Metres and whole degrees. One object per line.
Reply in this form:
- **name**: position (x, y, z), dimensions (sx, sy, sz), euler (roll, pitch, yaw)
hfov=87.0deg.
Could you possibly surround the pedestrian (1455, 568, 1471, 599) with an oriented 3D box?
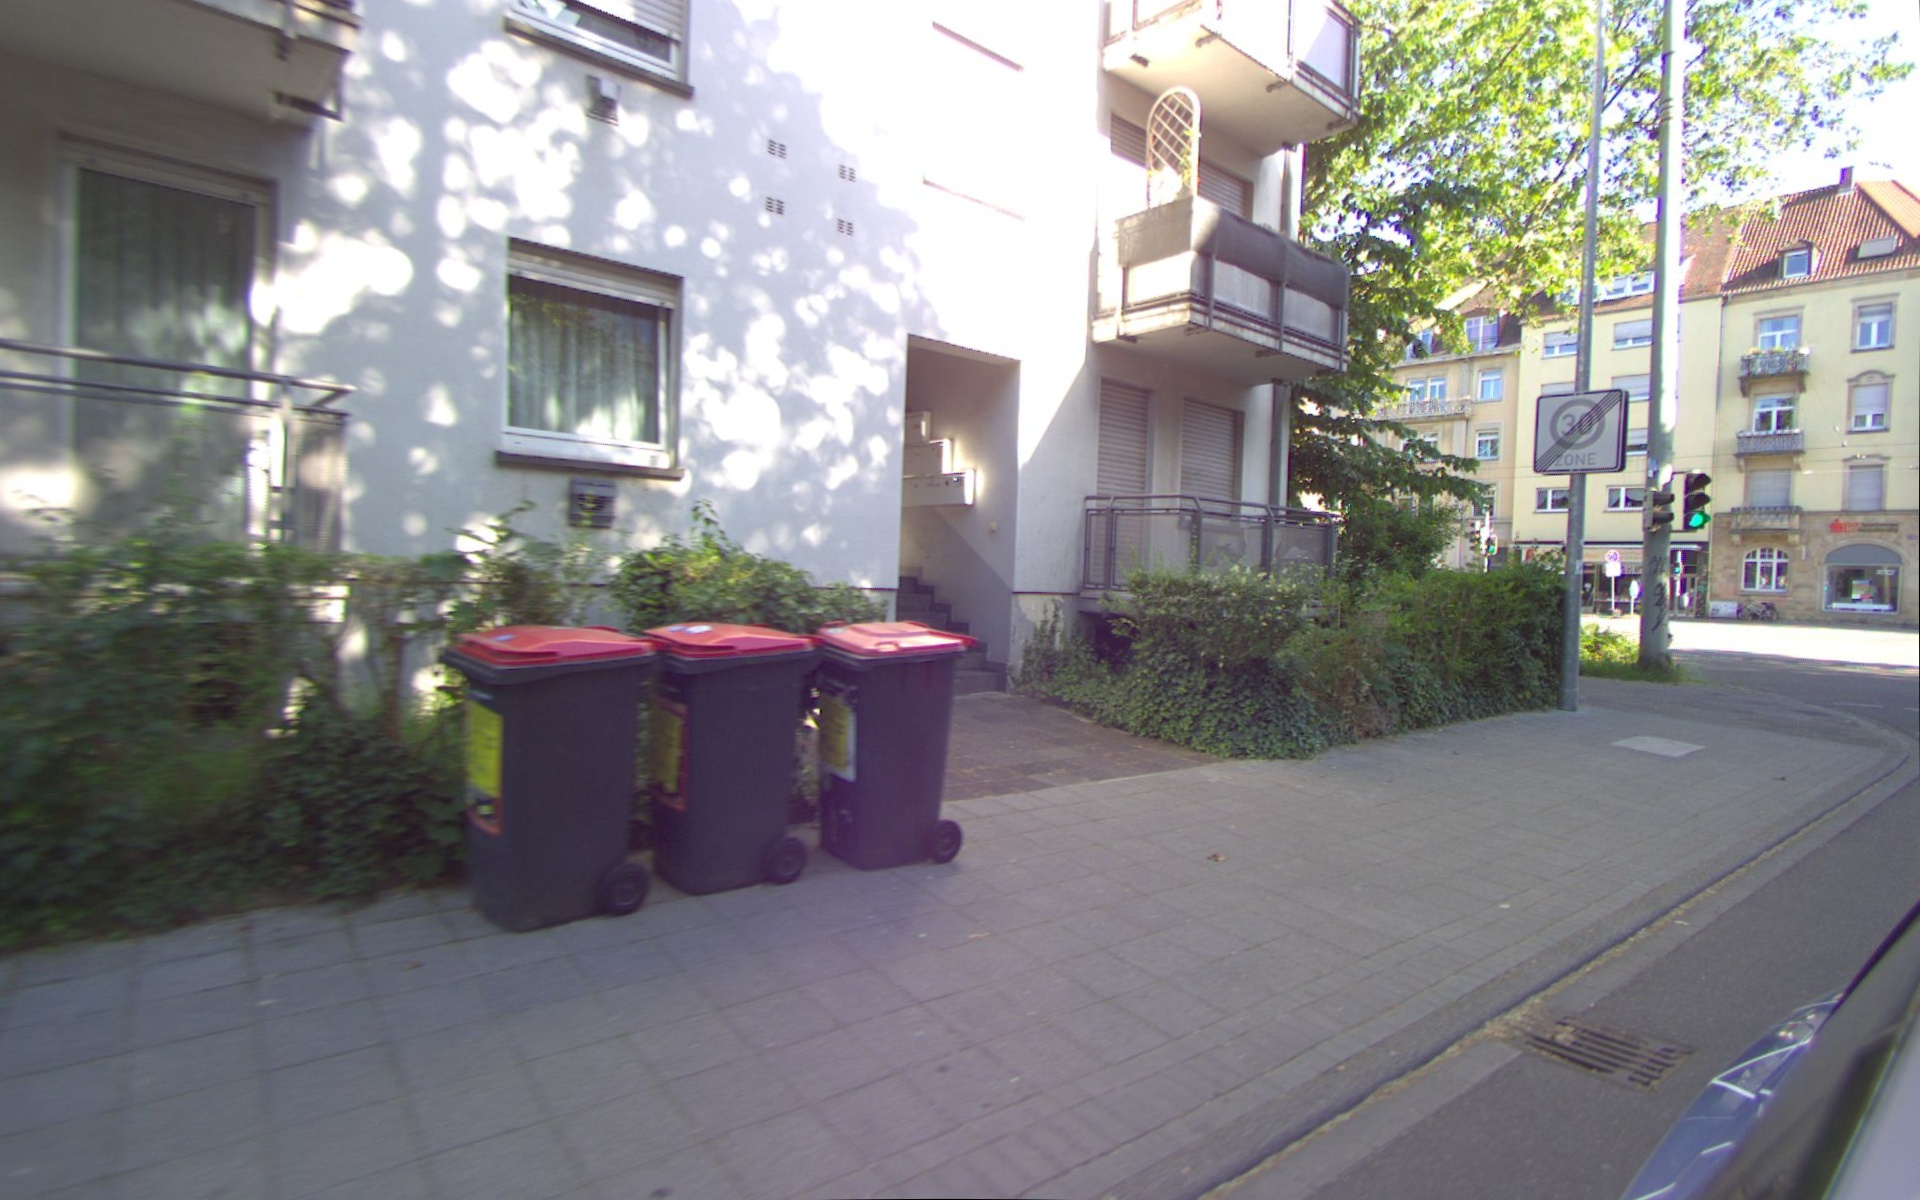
- **pedestrian**: position (29.531, -0.973, 59.378), dimensions (0.695, 1.825, 0.522), euler (1, 1, -37)

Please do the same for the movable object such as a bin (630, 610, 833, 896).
- **movable object such as a bin**: position (-0.969, 0.598, 4.288), dimensions (0.645, 1.056, 0.484), euler (0, 6, -41)

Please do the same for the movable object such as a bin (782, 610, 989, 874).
- **movable object such as a bin**: position (-0.351, 0.609, 4.732), dimensions (0.695, 1.056, 0.598), euler (0, 6, -41)

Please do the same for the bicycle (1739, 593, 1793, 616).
- **bicycle**: position (38.944, 0.203, 48.898), dimensions (0.508, 0.987, 1.951), euler (-2, 4, -40)

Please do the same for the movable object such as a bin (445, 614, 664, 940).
- **movable object such as a bin**: position (-1.527, 0.610, 3.805), dimensions (0.607, 1.056, 0.484), euler (0, 6, -41)

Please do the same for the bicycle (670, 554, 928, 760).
- **bicycle**: position (-1.069, 0.347, 6.859), dimensions (1.552, 1.200, 0.643), euler (4, 3, 8)
